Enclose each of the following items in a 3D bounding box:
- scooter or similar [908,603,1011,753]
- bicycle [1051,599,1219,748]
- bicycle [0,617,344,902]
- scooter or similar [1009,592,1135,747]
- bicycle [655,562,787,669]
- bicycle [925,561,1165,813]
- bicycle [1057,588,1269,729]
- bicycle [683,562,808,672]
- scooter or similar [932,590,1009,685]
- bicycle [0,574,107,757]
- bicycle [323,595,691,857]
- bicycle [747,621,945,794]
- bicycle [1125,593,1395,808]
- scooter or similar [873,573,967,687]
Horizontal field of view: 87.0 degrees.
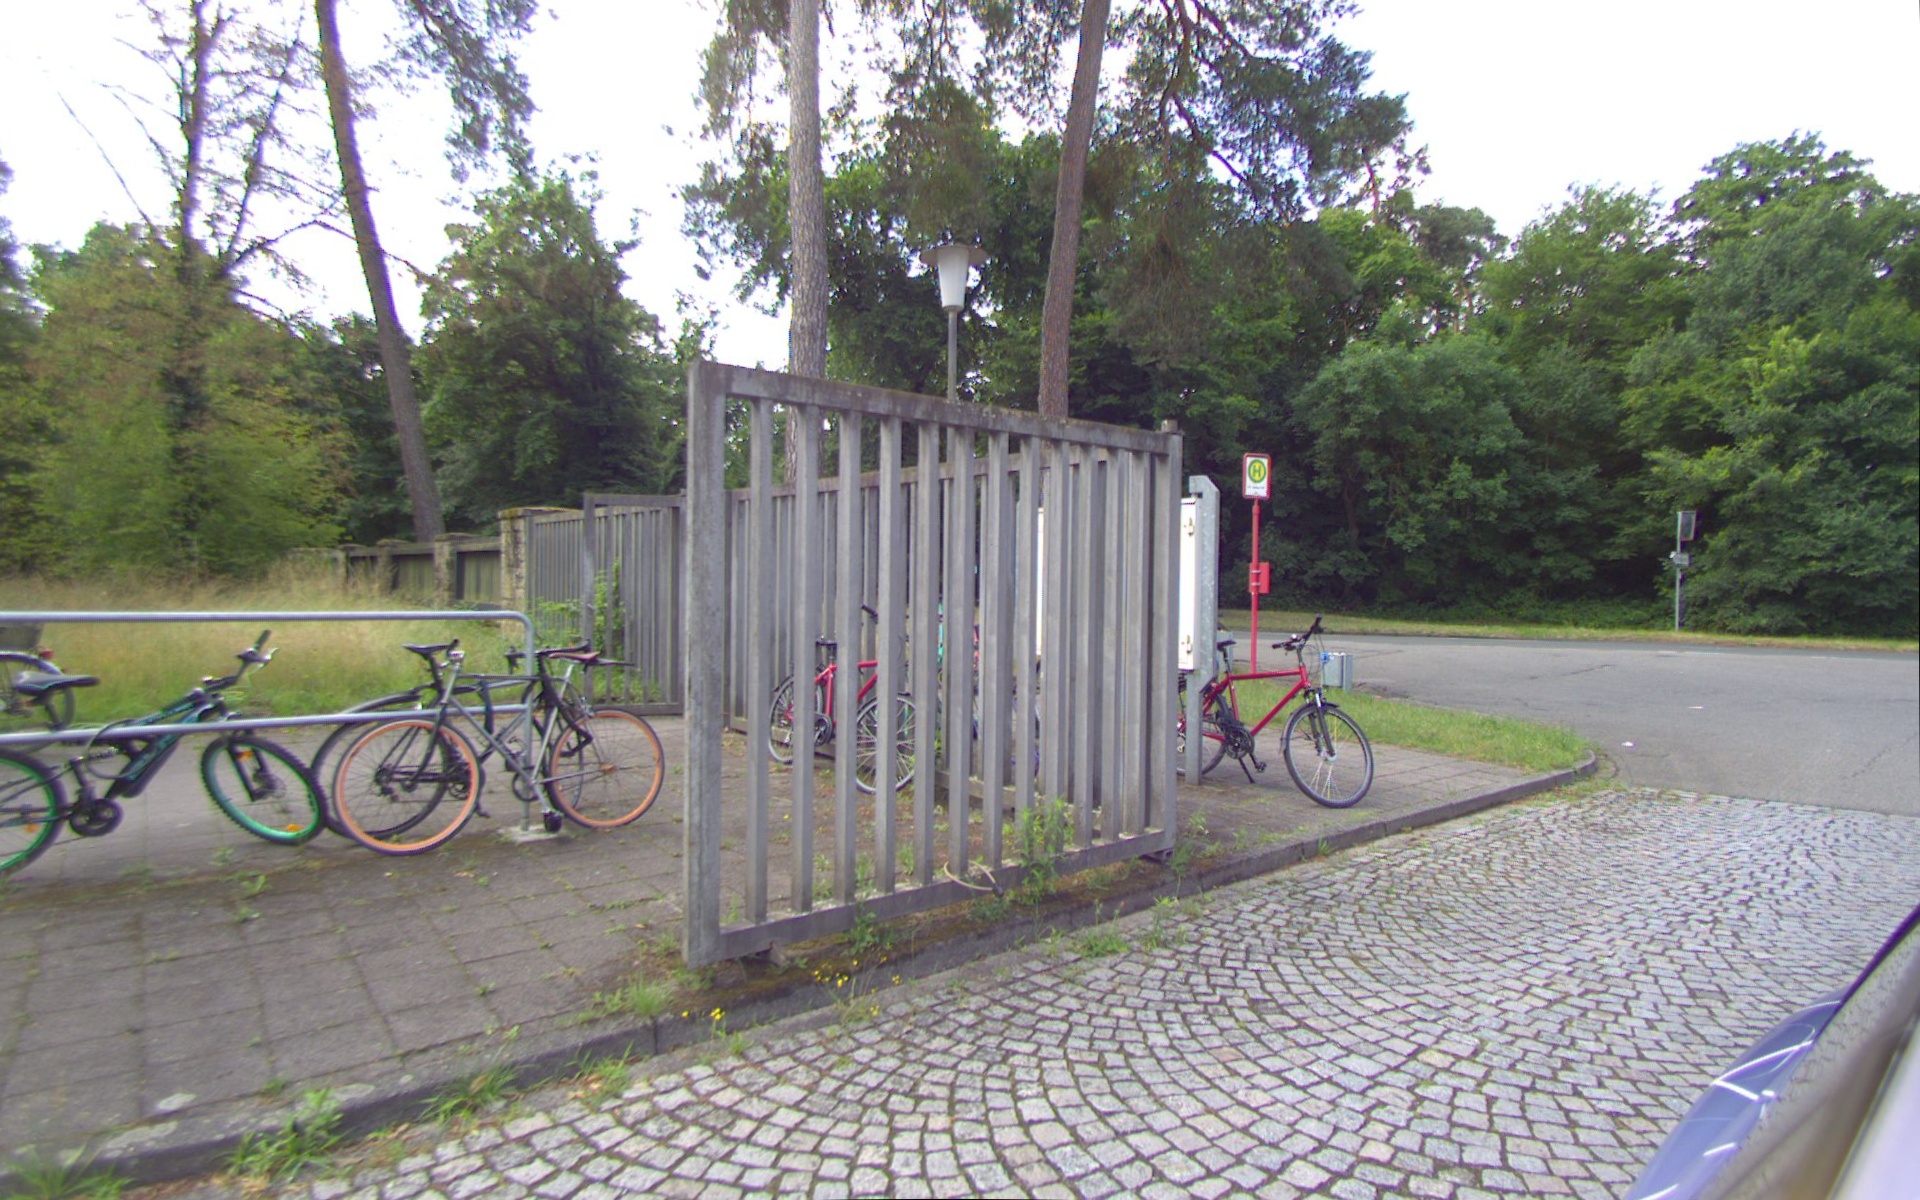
[{"bbox_3d":[0.018,0.622,8.681,0.433,1.165,1.243,1,1,22],"label":"scooter or similar"},{"bbox_3d":[1.563,0.624,9.306,0.610,1.177,1.613,2,1,-29],"label":"bicycle"},{"bbox_3d":[-3.708,0.639,4.492,1.566,1.070,0.731,0,2,-40],"label":"bicycle"},{"bbox_3d":[0.989,0.583,9.187,0.379,1.261,1.285,1,2,-33],"label":"scooter or similar"},{"bbox_3d":[-3.417,0.208,14.635,0.574,1.435,1.958,2,1,34],"label":"bicycle"},{"bbox_3d":[0.489,0.469,6.766,0.506,1.434,1.907,-1,3,-34],"label":"bicycle"},{"bbox_3d":[2.028,0.533,10.418,0.625,1.255,2.169,-1,2,-44],"label":"bicycle"},{"bbox_3d":[-2.979,0.228,14.203,0.585,1.435,1.776,2,0,34],"label":"bicycle"},{"bbox_3d":[0.136,0.506,14.360,0.431,1.243,1.088,-2,4,-44],"label":"scooter or similar"},{"bbox_3d":[-6.741,0.440,6.612,1.689,1.185,0.437,-2,3,-27],"label":"bicycle"},{"bbox_3d":[-2.345,0.593,5.378,1.685,1.185,0.502,1,1,-40],"label":"bicycle"},{"bbox_3d":[-0.881,0.690,7.248,0.449,0.980,1.951,0,2,-38],"label":"bicycle"},{"bbox_3d":[2.104,0.637,7.291,0.661,1.293,1.737,0,3,-43],"label":"bicycle"},{"bbox_3d":[-0.550,0.381,13.685,0.520,1.435,1.251,6,-2,-39],"label":"scooter or similar"}]
